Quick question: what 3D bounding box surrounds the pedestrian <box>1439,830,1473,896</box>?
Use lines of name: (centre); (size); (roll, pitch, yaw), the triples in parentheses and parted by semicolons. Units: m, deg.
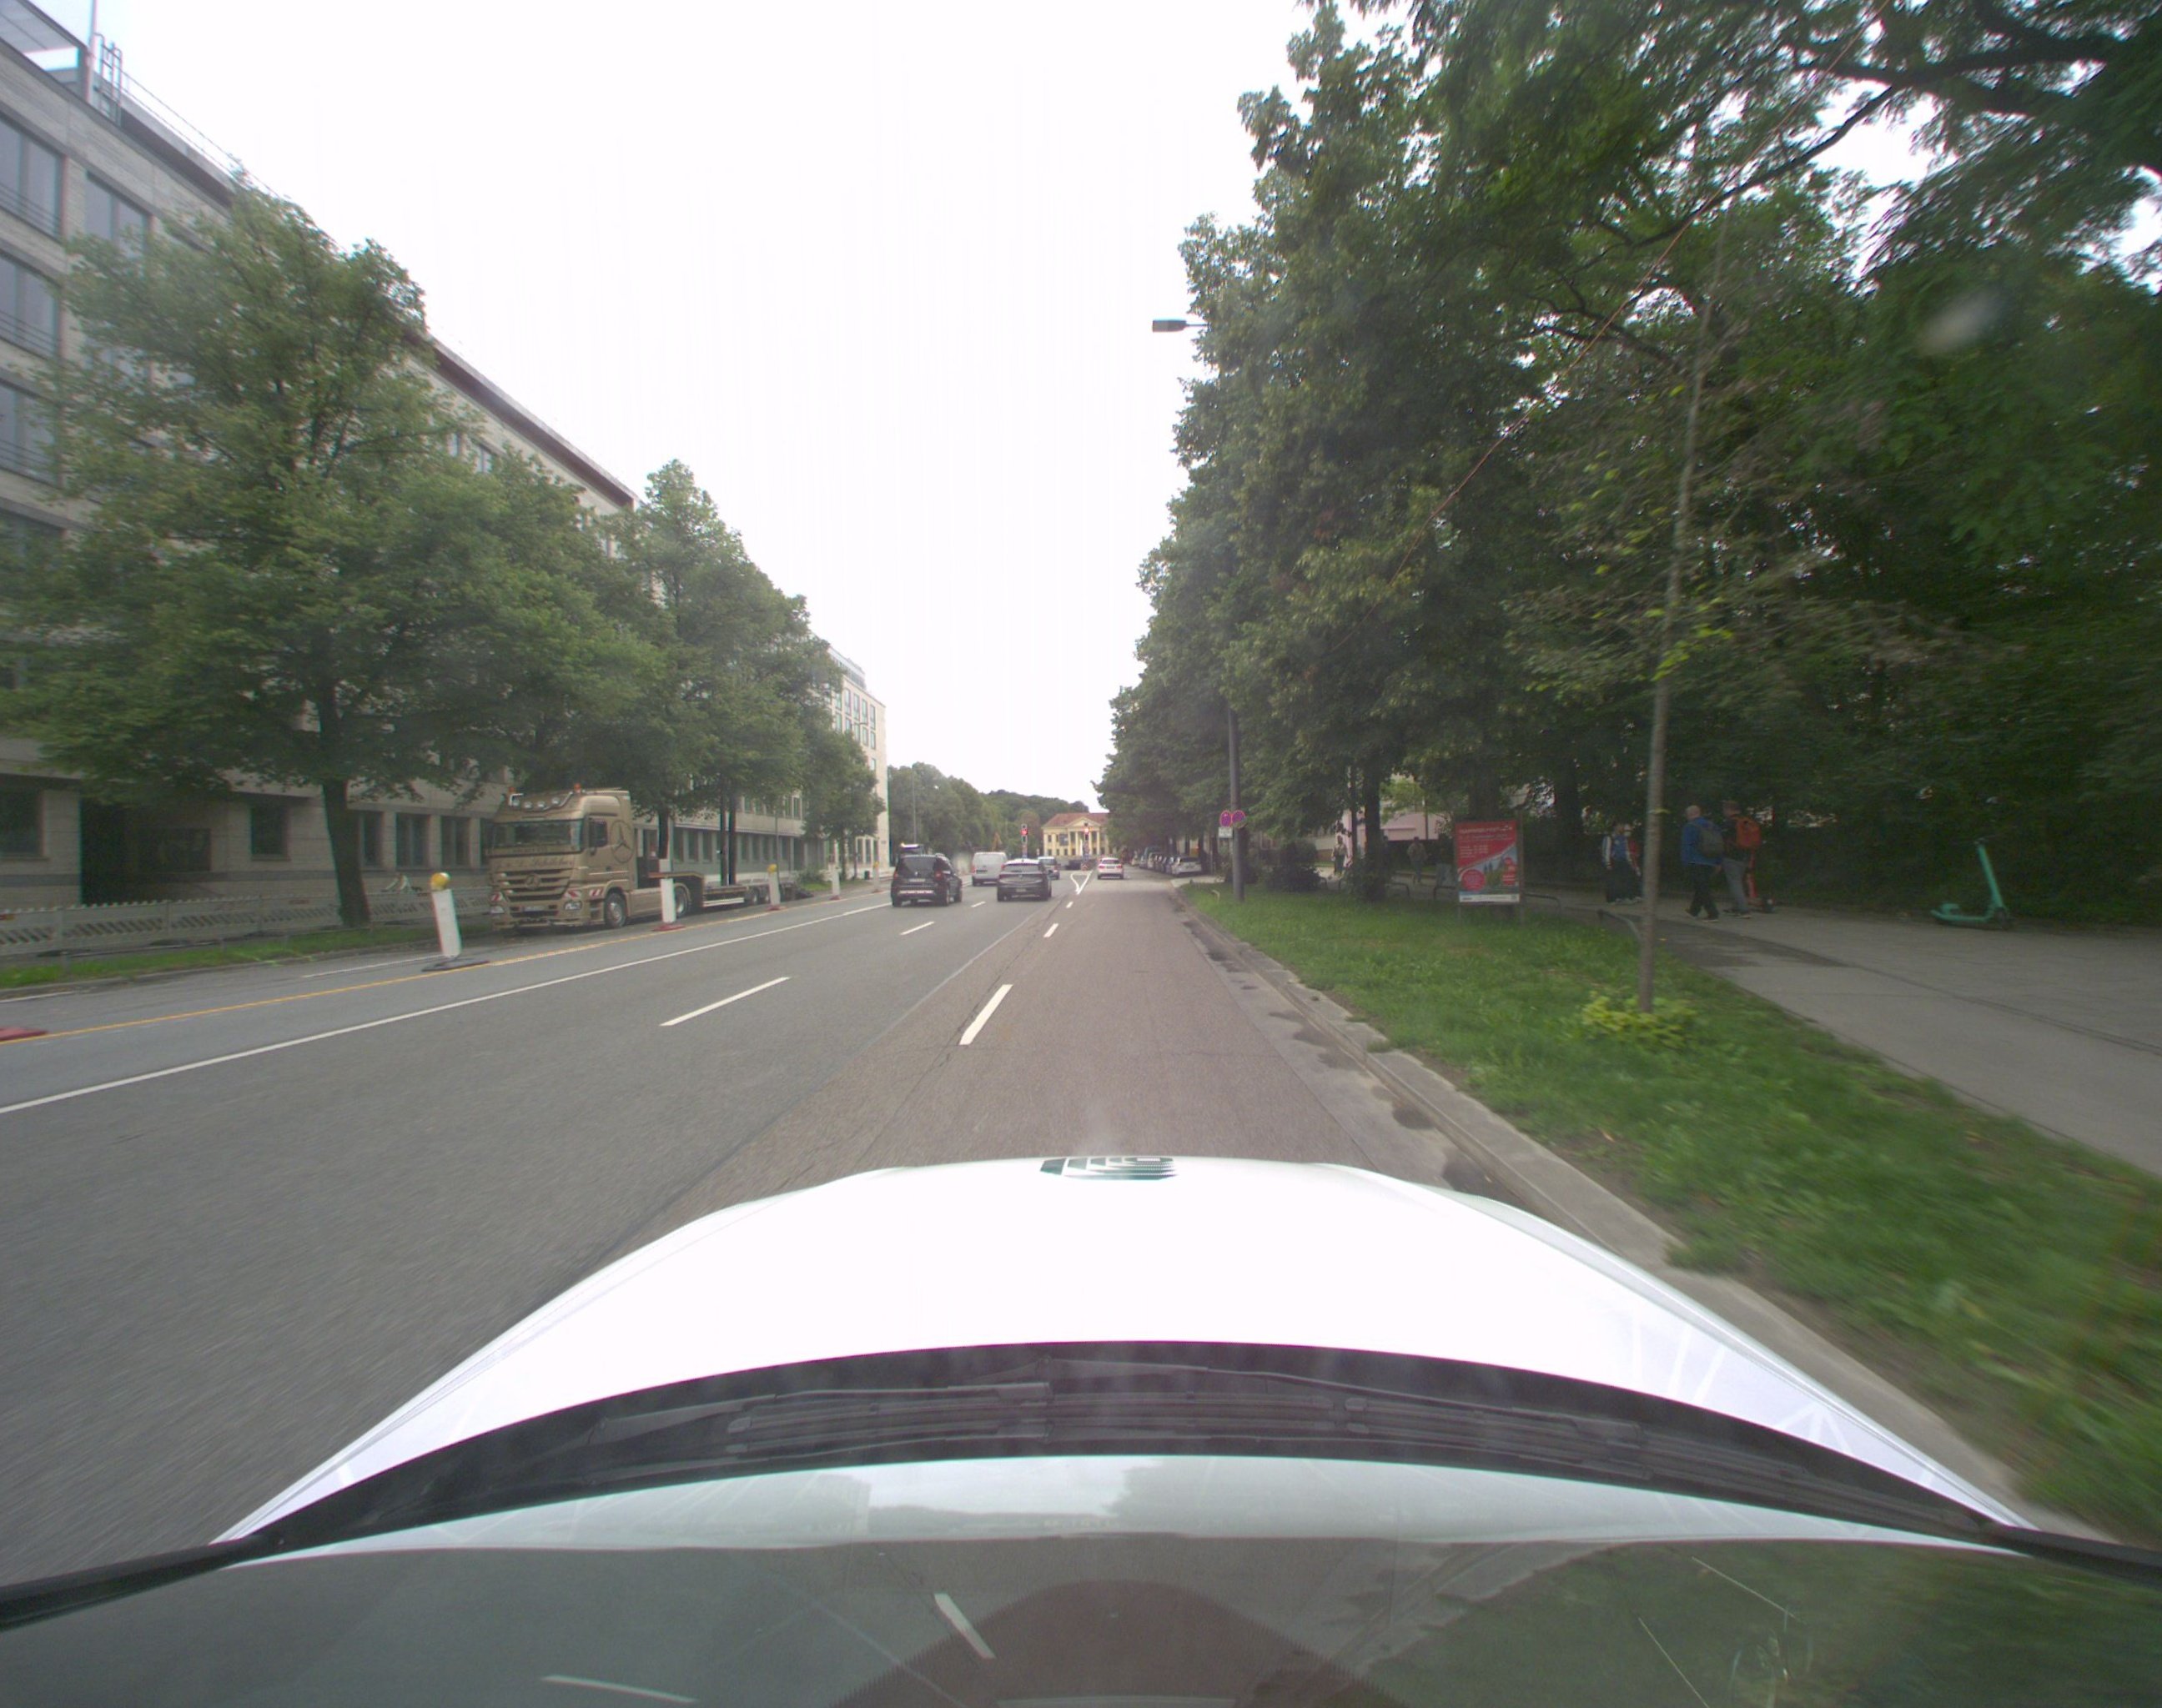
pedestrian: (10.297, 0.248, 22.376); (0.605, 1.763, 0.798); (-1, -1, 5)

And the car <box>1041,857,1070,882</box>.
car: (-1.759, 1.065, 56.868); (1.773, 1.654, 4.001); (0, 0, 1)

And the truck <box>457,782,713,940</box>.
truck: (-13.674, 0.188, 23.450); (2.909, 3.775, 7.658); (0, 0, -2)

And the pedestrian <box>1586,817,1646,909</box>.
pedestrian: (10.437, 0.169, 15.924); (0.749, 1.737, 0.853); (-1, -1, 17)

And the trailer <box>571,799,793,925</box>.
trailer: (-13.995, 0.257, 30.228); (2.943, 3.740, 11.758); (0, 0, -3)

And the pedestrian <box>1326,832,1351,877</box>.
pedestrian: (11.846, 0.031, 37.446); (0.760, 2.013, 0.777); (-5, -1, 2)

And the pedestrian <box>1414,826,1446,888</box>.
pedestrian: (9.726, 0.085, 22.688); (0.605, 1.681, 0.755); (-1, -1, 5)

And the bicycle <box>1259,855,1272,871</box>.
bicycle: (16.792, 0.842, 74.031); (0.696, 1.415, 2.300); (-2, -1, 2)

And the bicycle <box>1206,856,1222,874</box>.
bicycle: (9.164, 0.762, 56.225); (0.626, 1.231, 2.618); (0, 0, 0)

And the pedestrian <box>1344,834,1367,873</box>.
pedestrian: (12.893, -0.025, 38.265); (0.597, 1.809, 0.719); (-3, -1, -23)

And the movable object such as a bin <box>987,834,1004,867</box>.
movable object such as a bin: (-17.053, -0.635, 162.713); (2.689, 6.511, 5.178); (0, -1, 2)

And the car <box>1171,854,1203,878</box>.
car: (7.379, 0.831, 57.022); (1.820, 1.550, 4.754); (-2, -1, 2)

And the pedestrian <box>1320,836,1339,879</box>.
pedestrian: (11.901, 0.170, 39.073); (0.592, 2.013, 0.725); (-4, -1, 2)

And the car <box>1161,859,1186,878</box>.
car: (7.790, 1.212, 69.135); (1.717, 1.464, 4.778); (-2, -1, 2)

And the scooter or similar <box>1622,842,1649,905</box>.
scooter or similar: (11.130, 0.375, 16.340); (0.301, 1.224, 0.932); (-2, -1, 41)

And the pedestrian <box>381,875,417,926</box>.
pedestrian: (-23.704, 1.598, 28.313); (0.576, 1.732, 0.764); (0, -1, 2)

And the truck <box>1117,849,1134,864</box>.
truck: (9.747, 0.554, 179.208); (3.313, 3.367, 8.665); (0, 0, 2)

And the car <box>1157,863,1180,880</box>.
car: (7.977, 1.581, 74.435); (1.815, 1.464, 4.030); (-2, -1, 2)

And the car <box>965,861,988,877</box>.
car: (-11.522, 1.640, 89.926); (1.988, 1.596, 3.997); (-2, -1, -2)

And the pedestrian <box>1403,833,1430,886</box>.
pedestrian: (11.339, 0.178, 27.514); (0.627, 1.774, 0.783); (-1, -1, 5)

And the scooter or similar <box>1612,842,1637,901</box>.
scooter or similar: (11.683, 0.365, 17.510); (0.301, 1.224, 0.932); (-2, -1, 41)

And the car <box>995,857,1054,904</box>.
car: (-1.986, 0.912, 29.688); (1.704, 1.552, 4.002); (0, 0, 2)

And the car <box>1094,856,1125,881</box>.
car: (1.900, 0.984, 55.933); (1.775, 1.644, 3.995); (0, 0, -3)

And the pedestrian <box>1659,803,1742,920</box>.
pedestrian: (9.539, 0.115, 12.576); (0.749, 1.737, 0.853); (-1, -1, 17)

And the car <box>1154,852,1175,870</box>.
car: (8.308, 0.667, 80.999); (1.717, 1.665, 4.592); (-2, -1, 2)

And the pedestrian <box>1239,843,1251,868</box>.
pedestrian: (13.052, 0.122, 64.768); (0.761, 1.910, 0.771); (0, -1, 2)

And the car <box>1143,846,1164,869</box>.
car: (8.456, 0.400, 95.260); (1.987, 2.643, 4.877); (0, 0, 0)

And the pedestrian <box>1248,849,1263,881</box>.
pedestrian: (10.791, 0.671, 50.294); (0.776, 1.910, 0.771); (0, -1, 2)

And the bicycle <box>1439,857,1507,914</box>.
bicycle: (7.503, 0.572, 15.689); (0.383, 1.021, 2.080); (0, 0, 2)

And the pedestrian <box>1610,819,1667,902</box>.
pedestrian: (11.306, 0.128, 16.530); (0.681, 1.637, 0.661); (0, -1, -10)

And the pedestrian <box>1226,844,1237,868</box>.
pedestrian: (11.955, 0.147, 64.744); (0.696, 1.910, 0.771); (0, -1, 2)

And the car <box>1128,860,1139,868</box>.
car: (9.194, 1.772, 141.992); (1.717, 1.324, 4.030); (-2, -1, 2)

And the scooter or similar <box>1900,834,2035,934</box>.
scooter or similar: (11.353, 0.368, 10.477); (0.416, 1.199, 1.219); (0, -1, 2)

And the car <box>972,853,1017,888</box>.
car: (-4.899, 0.927, 46.637); (1.891, 1.847, 4.956); (-2, -1, 1)

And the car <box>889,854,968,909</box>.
car: (-5.021, 0.880, 27.304); (1.716, 1.636, 4.205); (-2, -1, 1)

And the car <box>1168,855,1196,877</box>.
car: (7.675, 0.890, 62.031); (1.717, 1.550, 4.588); (-2, -1, 2)

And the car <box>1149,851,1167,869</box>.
car: (8.305, 0.670, 88.232); (1.717, 1.867, 4.030); (-2, -1, 2)

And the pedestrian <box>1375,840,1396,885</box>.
pedestrian: (11.409, 0.326, 30.524); (0.577, 1.675, 0.554); (-1, -1, 5)

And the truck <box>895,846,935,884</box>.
truck: (-15.506, 1.040, 76.624); (2.838, 3.357, 8.743); (0, 0, -7)

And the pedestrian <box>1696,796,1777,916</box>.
pedestrian: (10.259, 0.034, 12.769); (0.585, 1.822, 0.850); (0, -1, 2)
